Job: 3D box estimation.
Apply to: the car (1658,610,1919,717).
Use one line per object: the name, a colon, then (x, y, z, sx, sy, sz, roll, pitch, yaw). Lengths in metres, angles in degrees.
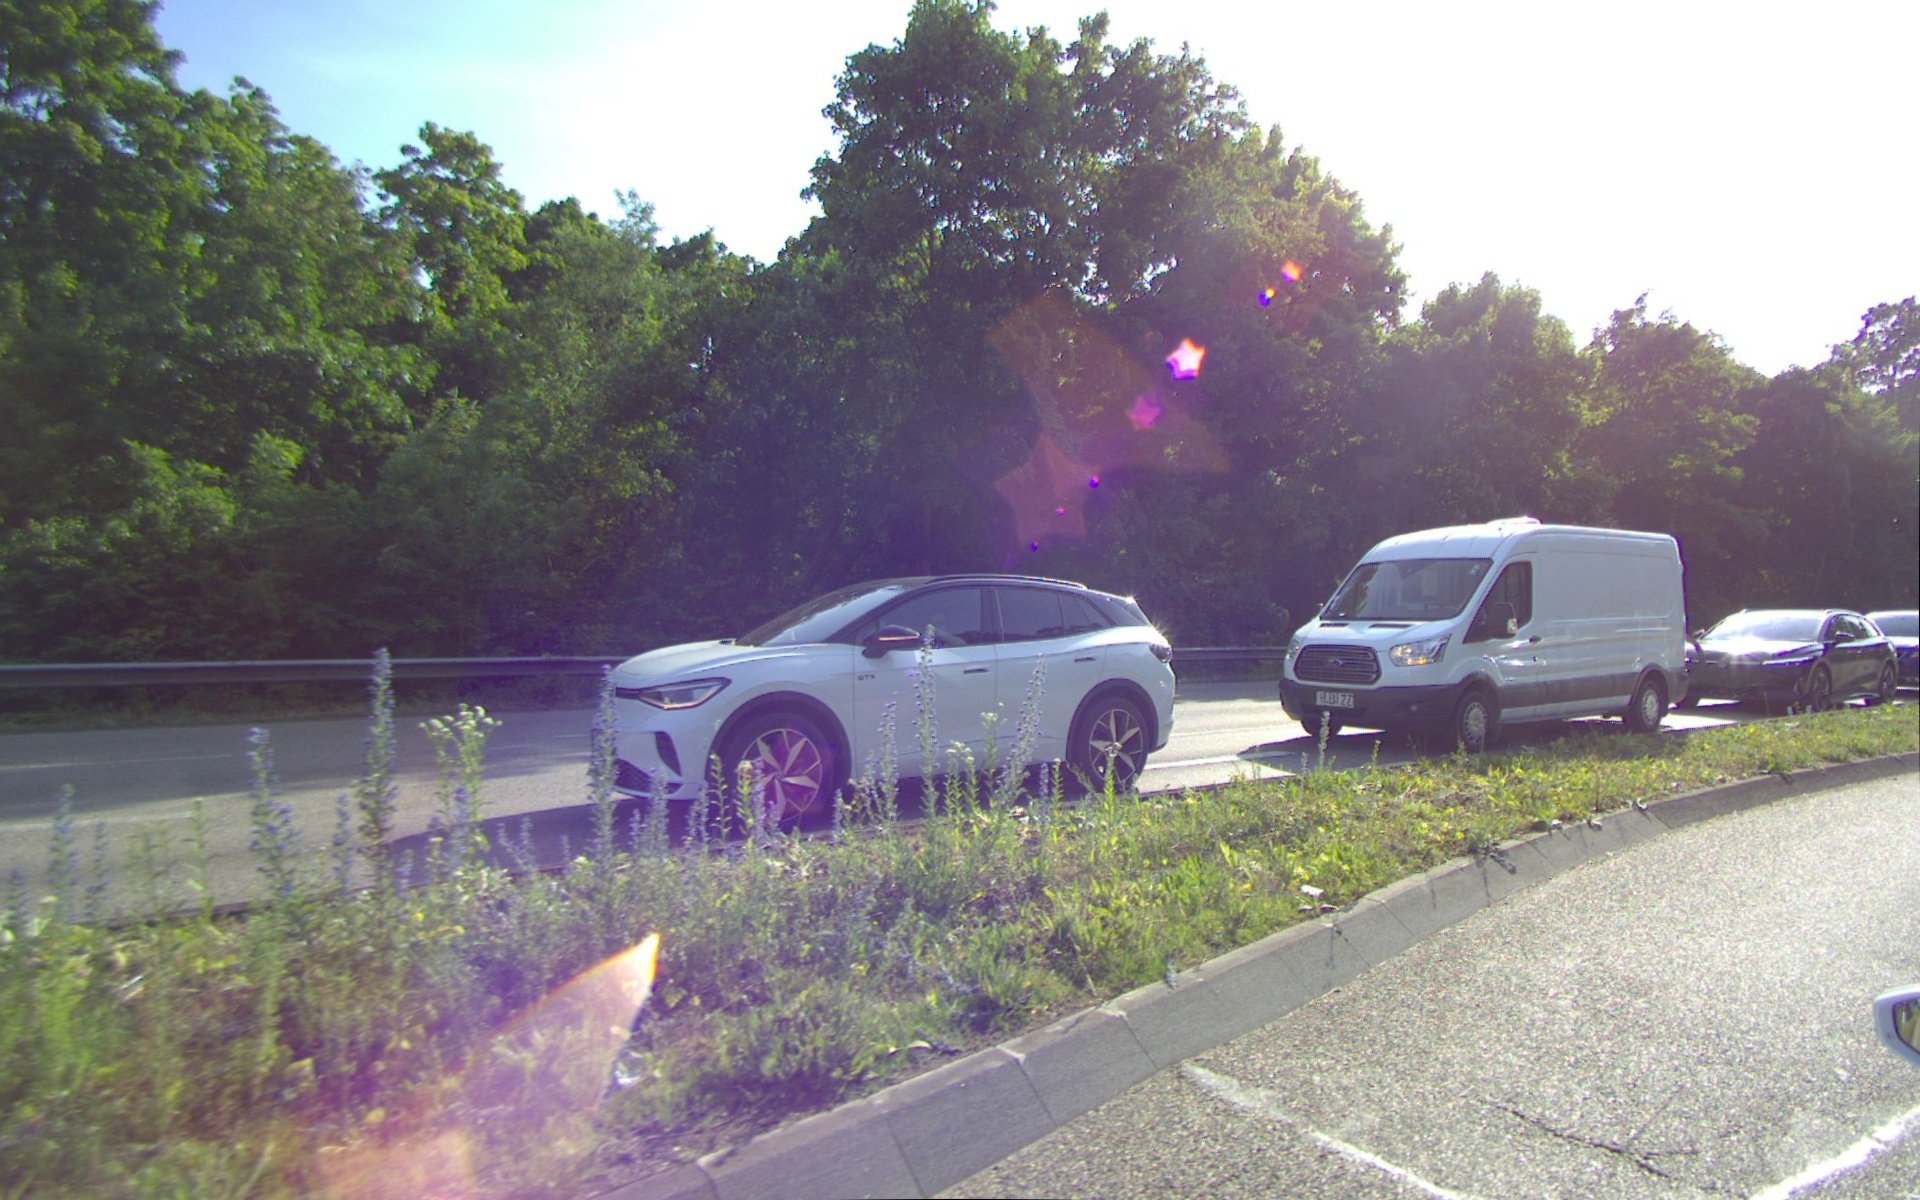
car: (13.262, 0.906, 15.951, 5.129, 1.476, 1.750, 1, -1, -33)

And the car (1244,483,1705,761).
car: (6.227, 0.244, 11.818, 6.096, 2.567, 2.063, 1, -1, -33)

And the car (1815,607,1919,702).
car: (18.822, 1.005, 19.748, 4.748, 1.691, 1.761, 1, -1, -33)

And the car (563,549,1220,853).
car: (-0.310, 0.584, 7.492, 4.698, 1.653, 1.690, 1, -1, -34)
